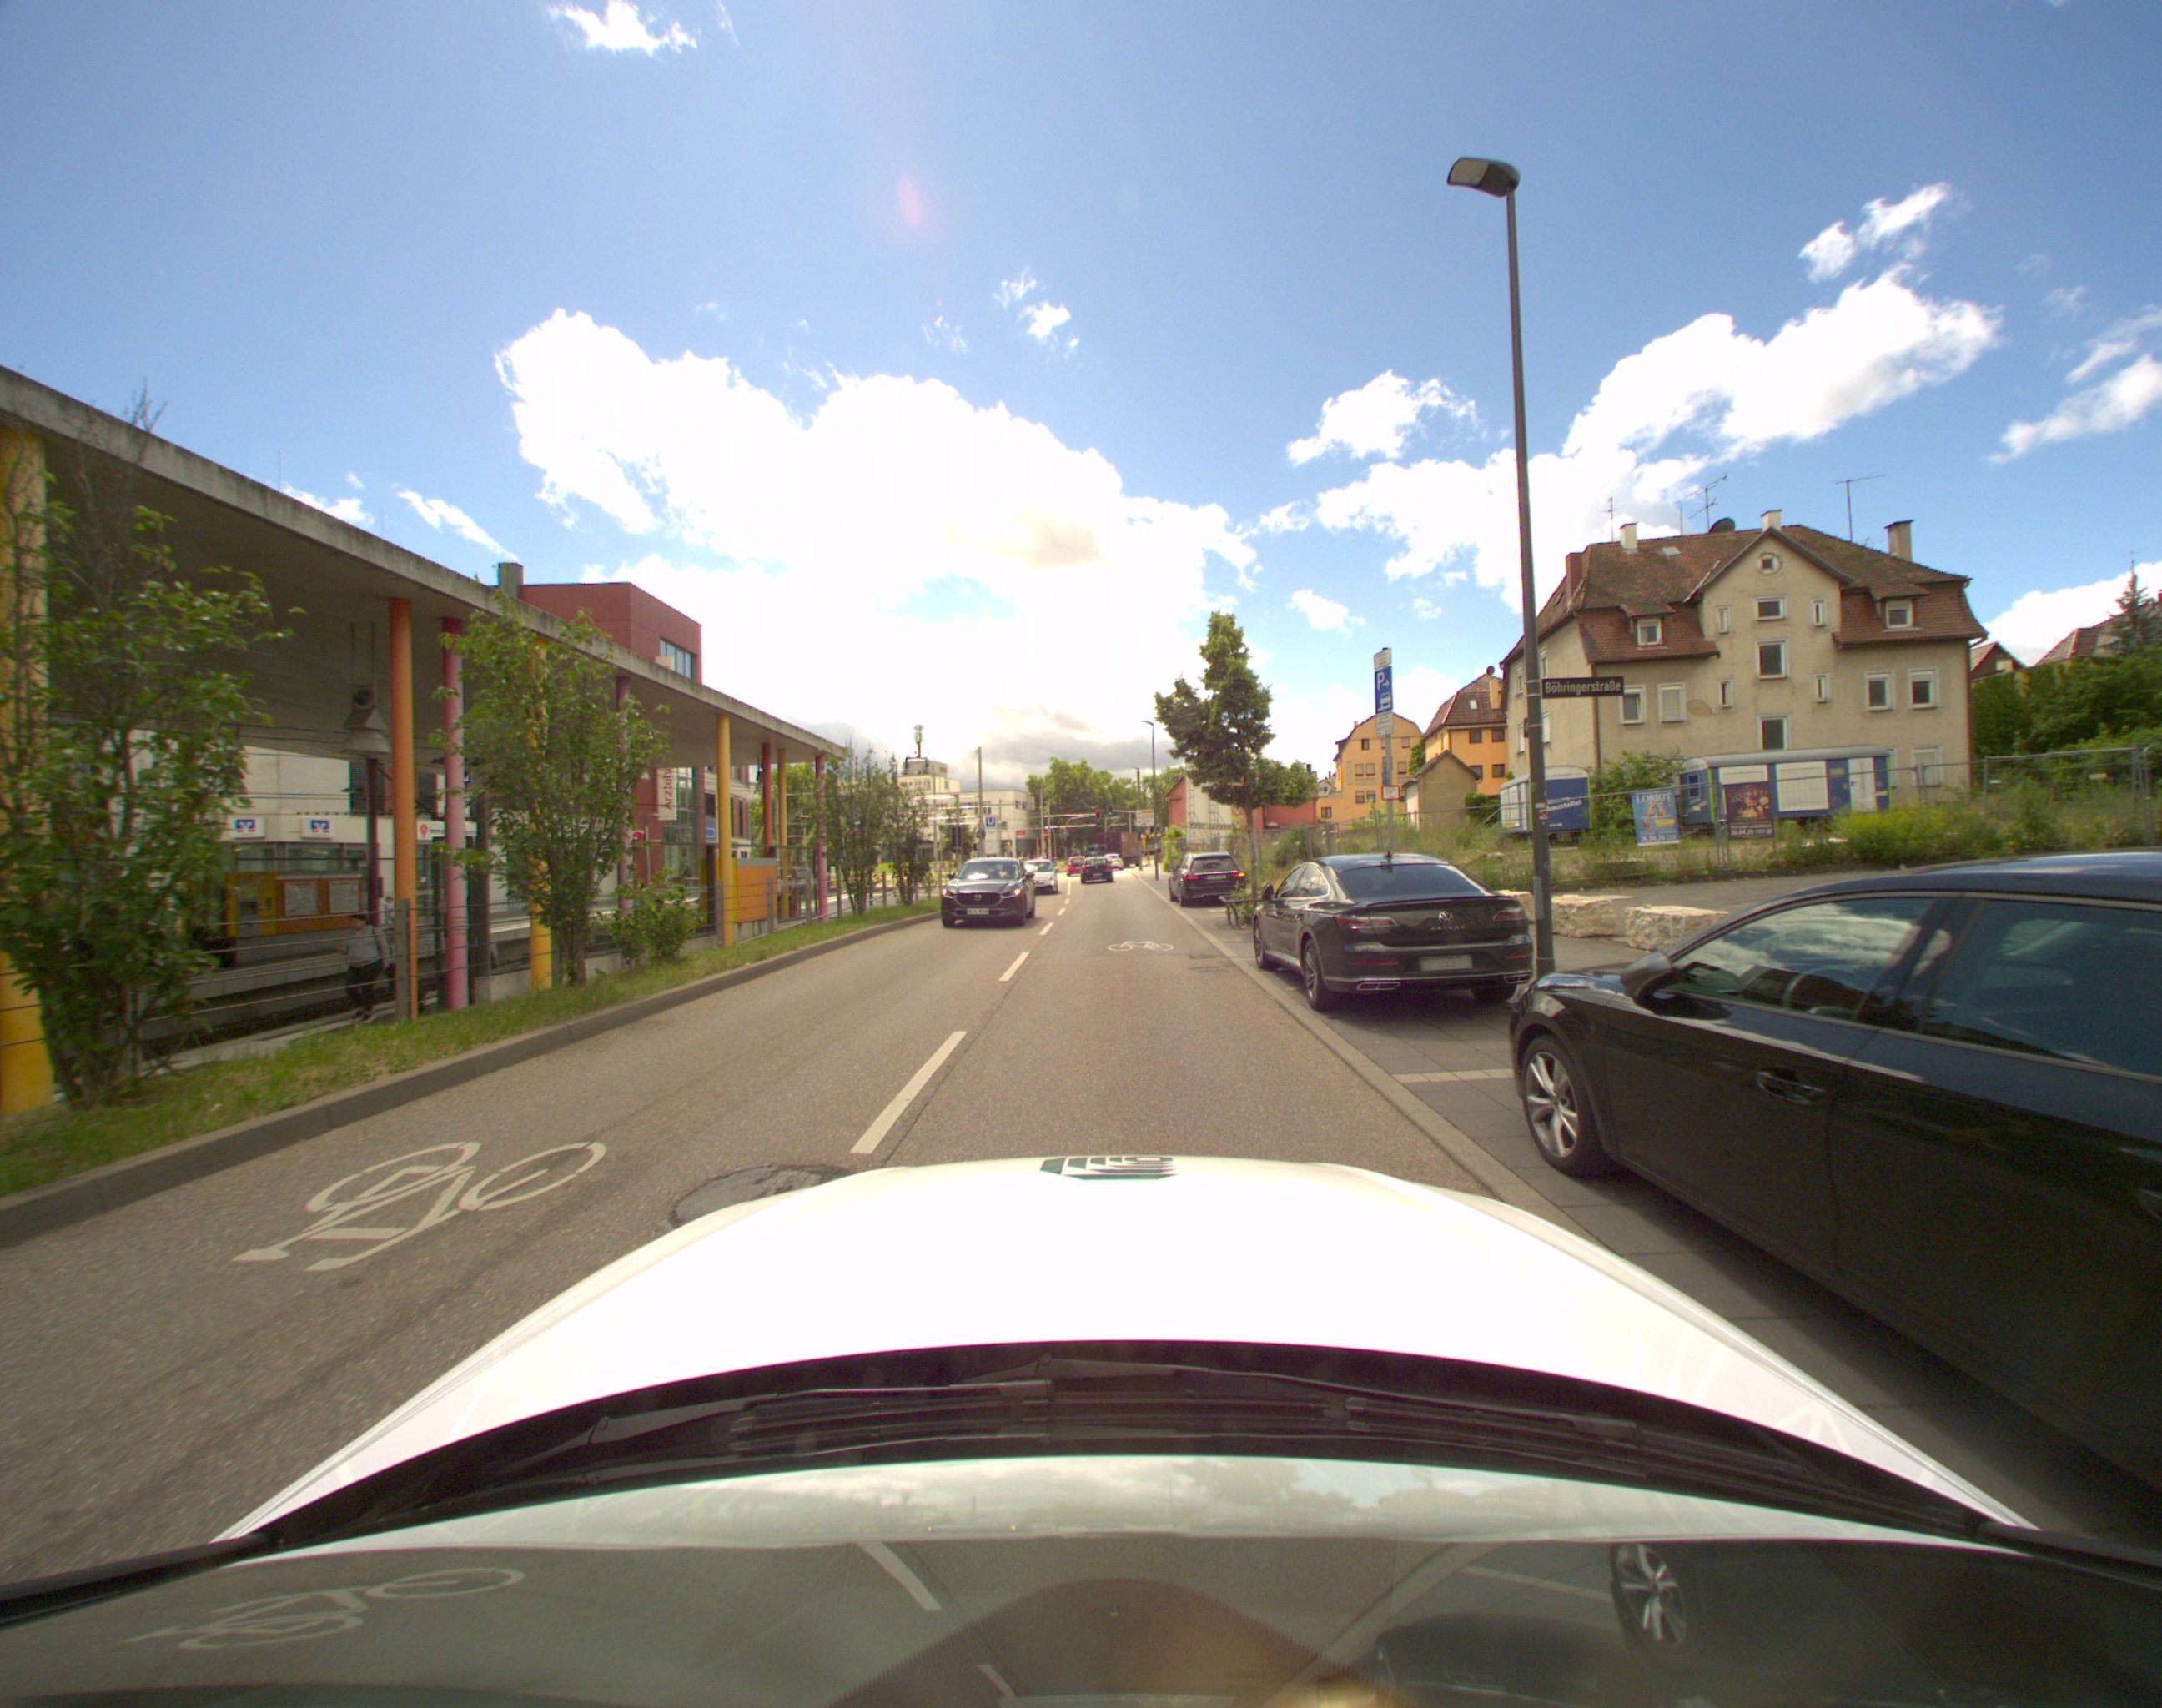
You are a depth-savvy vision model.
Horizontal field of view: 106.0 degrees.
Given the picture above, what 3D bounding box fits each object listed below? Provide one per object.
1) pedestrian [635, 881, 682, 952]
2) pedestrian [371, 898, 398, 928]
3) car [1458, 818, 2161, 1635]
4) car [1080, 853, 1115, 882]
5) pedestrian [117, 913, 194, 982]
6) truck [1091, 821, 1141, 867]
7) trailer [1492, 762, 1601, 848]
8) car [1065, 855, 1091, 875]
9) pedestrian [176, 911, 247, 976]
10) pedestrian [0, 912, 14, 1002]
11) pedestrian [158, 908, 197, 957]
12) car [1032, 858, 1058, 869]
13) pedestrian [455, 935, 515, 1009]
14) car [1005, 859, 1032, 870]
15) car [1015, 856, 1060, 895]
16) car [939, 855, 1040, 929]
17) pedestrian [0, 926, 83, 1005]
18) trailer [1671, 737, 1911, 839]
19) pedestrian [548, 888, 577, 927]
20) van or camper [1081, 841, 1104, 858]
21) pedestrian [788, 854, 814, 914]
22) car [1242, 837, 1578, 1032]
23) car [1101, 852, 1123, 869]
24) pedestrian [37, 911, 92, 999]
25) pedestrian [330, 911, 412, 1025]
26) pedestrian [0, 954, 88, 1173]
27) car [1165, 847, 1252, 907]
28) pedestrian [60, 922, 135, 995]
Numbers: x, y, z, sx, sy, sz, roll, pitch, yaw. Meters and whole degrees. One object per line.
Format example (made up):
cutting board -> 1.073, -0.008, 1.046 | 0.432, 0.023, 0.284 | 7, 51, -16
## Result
pedestrian -> -9.817, 1.432, 18.919 | 0.760, 1.527, 0.678 | -4, 3, -39
pedestrian -> -23.828, 2.014, 27.864 | 0.362, 1.023, 0.562 | -1, -2, 4
car -> 2.845, 0.654, 2.423 | 1.685, 1.461, 4.151 | -3, 0, 4
car -> 0.854, 0.703, 44.642 | 1.721, 1.456, 3.807 | -2, 0, -1
pedestrian -> -19.694, 1.974, 17.341 | 0.819, 1.379, 0.702 | 0, 1, 3
truck -> 3.789, -0.914, 85.147 | 3.179, 4.536, 9.066 | -1, -2, 16
trailer -> 19.239, -1.901, 34.043 | 2.386, 3.122, 6.186 | -3, 0, 15
car -> -0.264, 0.792, 61.563 | 1.708, 1.393, 3.803 | -2, 0, -4
pedestrian -> -19.585, 2.000, 18.363 | 0.819, 1.379, 0.702 | 0, 1, 3
pedestrian -> -22.463, 2.132, 16.688 | 0.481, 1.820, 0.492 | 0, 1, -1
pedestrian -> -25.359, 2.192, 22.857 | 0.514, 1.305, 0.521 | 1, -2, -22
car -> -5.961, 1.617, 134.648 | 1.974, 1.600, 4.226 | -2, 0, 41
pedestrian -> -9.358, 1.839, 12.801 | 0.563, 1.083, 0.484 | 0, 1, 1
car -> -9.907, 1.670, 129.503 | 1.974, 1.464, 4.025 | -2, -1, 41
car -> -1.852, 0.888, 35.716 | 1.766, 1.508, 3.998 | -2, 0, -1
car -> -2.007, 0.791, 19.037 | 1.718, 1.521, 4.256 | 0, 0, 2
pedestrian -> -19.737, 2.089, 15.365 | 0.923, 1.379, 0.702 | 0, 1, 2
trailer -> 25.597, -2.297, 29.671 | 6.099, 3.122, 2.420 | -3, 0, 12
pedestrian -> -22.284, 2.283, 35.037 | 0.654, 1.650, 0.843 | 0, -2, 2
van or camper -> 2.143, -0.829, 149.367 | 2.156, 2.805, 6.102 | -1, -2, 23
pedestrian -> -8.906, 0.927, 25.897 | 0.736, 1.845, 0.779 | -1, 1, -20
car -> 3.061, 0.646, 8.786 | 1.857, 1.451, 4.646 | -3, 0, 2
car -> 2.841, 0.609, 74.594 | 1.881, 1.465, 4.070 | -3, -1, 2
pedestrian -> -21.239, 2.098, 17.025 | 0.481, 1.775, 0.492 | 0, 1, -1
pedestrian -> -10.663, 1.691, 12.247 | 0.627, 1.614, 0.636 | 0, 1, 3
pedestrian -> -9.592, 1.843, 7.235 | 0.584, 1.830, 0.710 | 0, -2, 4
car -> 3.531, 0.602, 23.383 | 1.776, 1.451, 4.476 | -3, 0, 1
pedestrian -> -19.812, 2.092, 16.417 | 0.648, 1.379, 0.702 | 0, 1, 3
